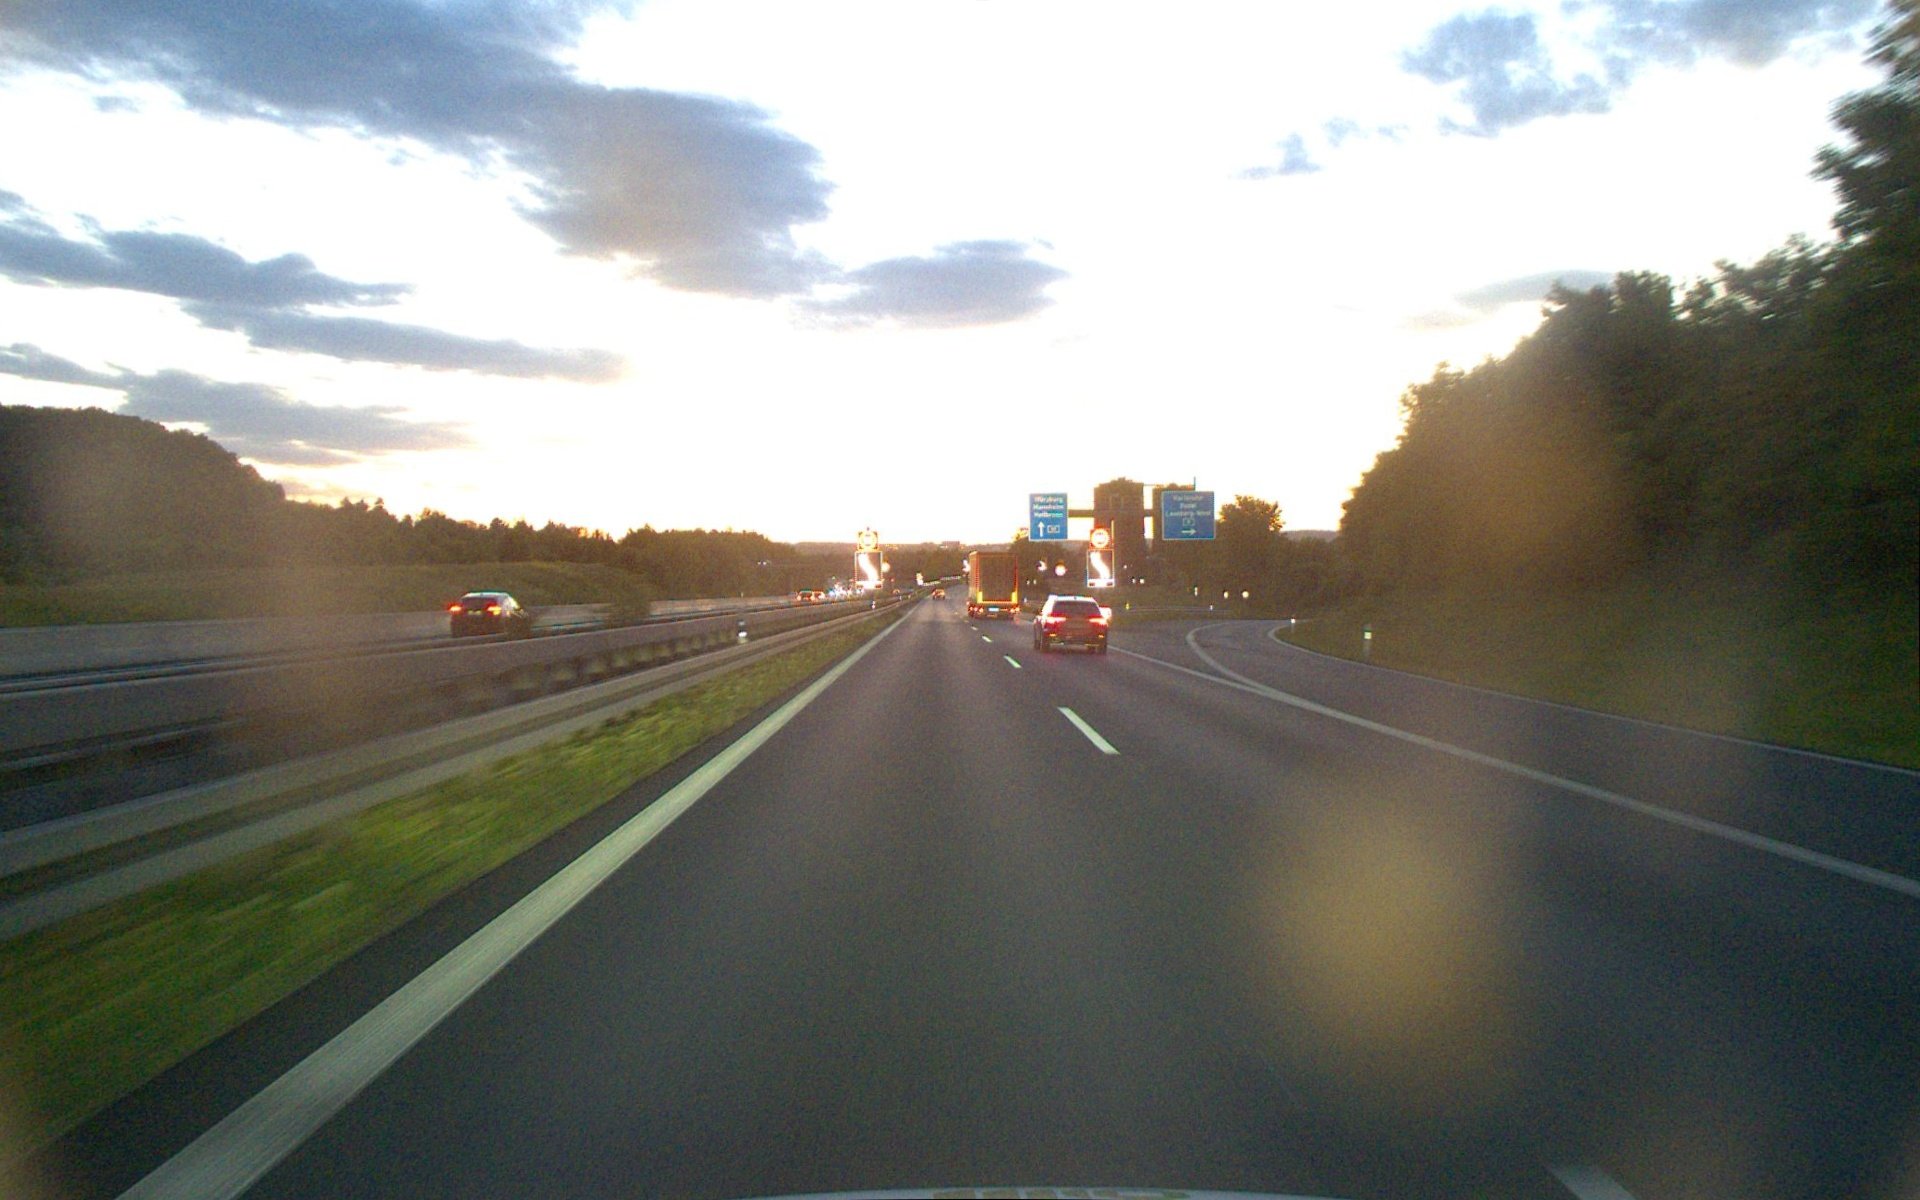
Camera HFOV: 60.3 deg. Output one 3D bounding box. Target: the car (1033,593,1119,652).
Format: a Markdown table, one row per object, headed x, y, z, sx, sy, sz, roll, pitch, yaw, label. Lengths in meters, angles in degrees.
| x | y | z | sx | sy | sz | roll | pitch | yaw | label |
| --- | --- | --- | --- | --- | --- | --- | --- | --- | --- |
| 3.080 | 0.580 | 44.661 | 1.876 | 1.467 | 3.998 | -1 | 0 | -2 | car |

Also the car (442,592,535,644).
| x | y | z | sx | sy | sz | roll | pitch | yaw | label |
| --- | --- | --- | --- | --- | --- | --- | --- | --- | --- |
| -15.618 | 0.573 | 55.018 | 1.834 | 1.588 | 4.519 | -1 | 0 | -1 | car |

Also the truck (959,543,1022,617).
| x | y | z | sx | sy | sz | roll | pitch | yaw | label |
| --- | --- | --- | --- | --- | --- | --- | --- | --- | --- |
| 1.838 | -1.190 | 103.937 | 3.439 | 4.376 | 9.888 | -1 | 0 | -1 | truck |

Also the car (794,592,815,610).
| x | y | z | sx | sy | sz | roll | pitch | yaw | label |
| --- | --- | --- | --- | --- | --- | --- | --- | --- | --- |
| -14.547 | 0.100 | 154.668 | 1.678 | 1.634 | 3.721 | -1 | 0 | -1 | car |

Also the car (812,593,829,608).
| x | y | z | sx | sy | sz | roll | pitch | yaw | label |
| --- | --- | --- | --- | --- | --- | --- | --- | --- | --- |
| -15.363 | 0.050 | 182.501 | 1.604 | 1.573 | 3.394 | -1 | 0 | -1 | car |

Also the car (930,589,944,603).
| x | y | z | sx | sy | sz | roll | pitch | yaw | label |
| --- | --- | --- | --- | --- | --- | --- | --- | --- | --- |
| -3.411 | -0.555 | 246.988 | 1.953 | 2.049 | 3.999 | -1 | 0 | -1 | car |

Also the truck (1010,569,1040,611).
| x | y | z | sx | sy | sz | roll | pitch | yaw | label |
| --- | --- | --- | --- | --- | --- | --- | --- | --- | --- |
| 6.563 | -1.014 | 167.742 | 2.731 | 4.130 | 6.410 | 0 | 0 | -1 | truck |
